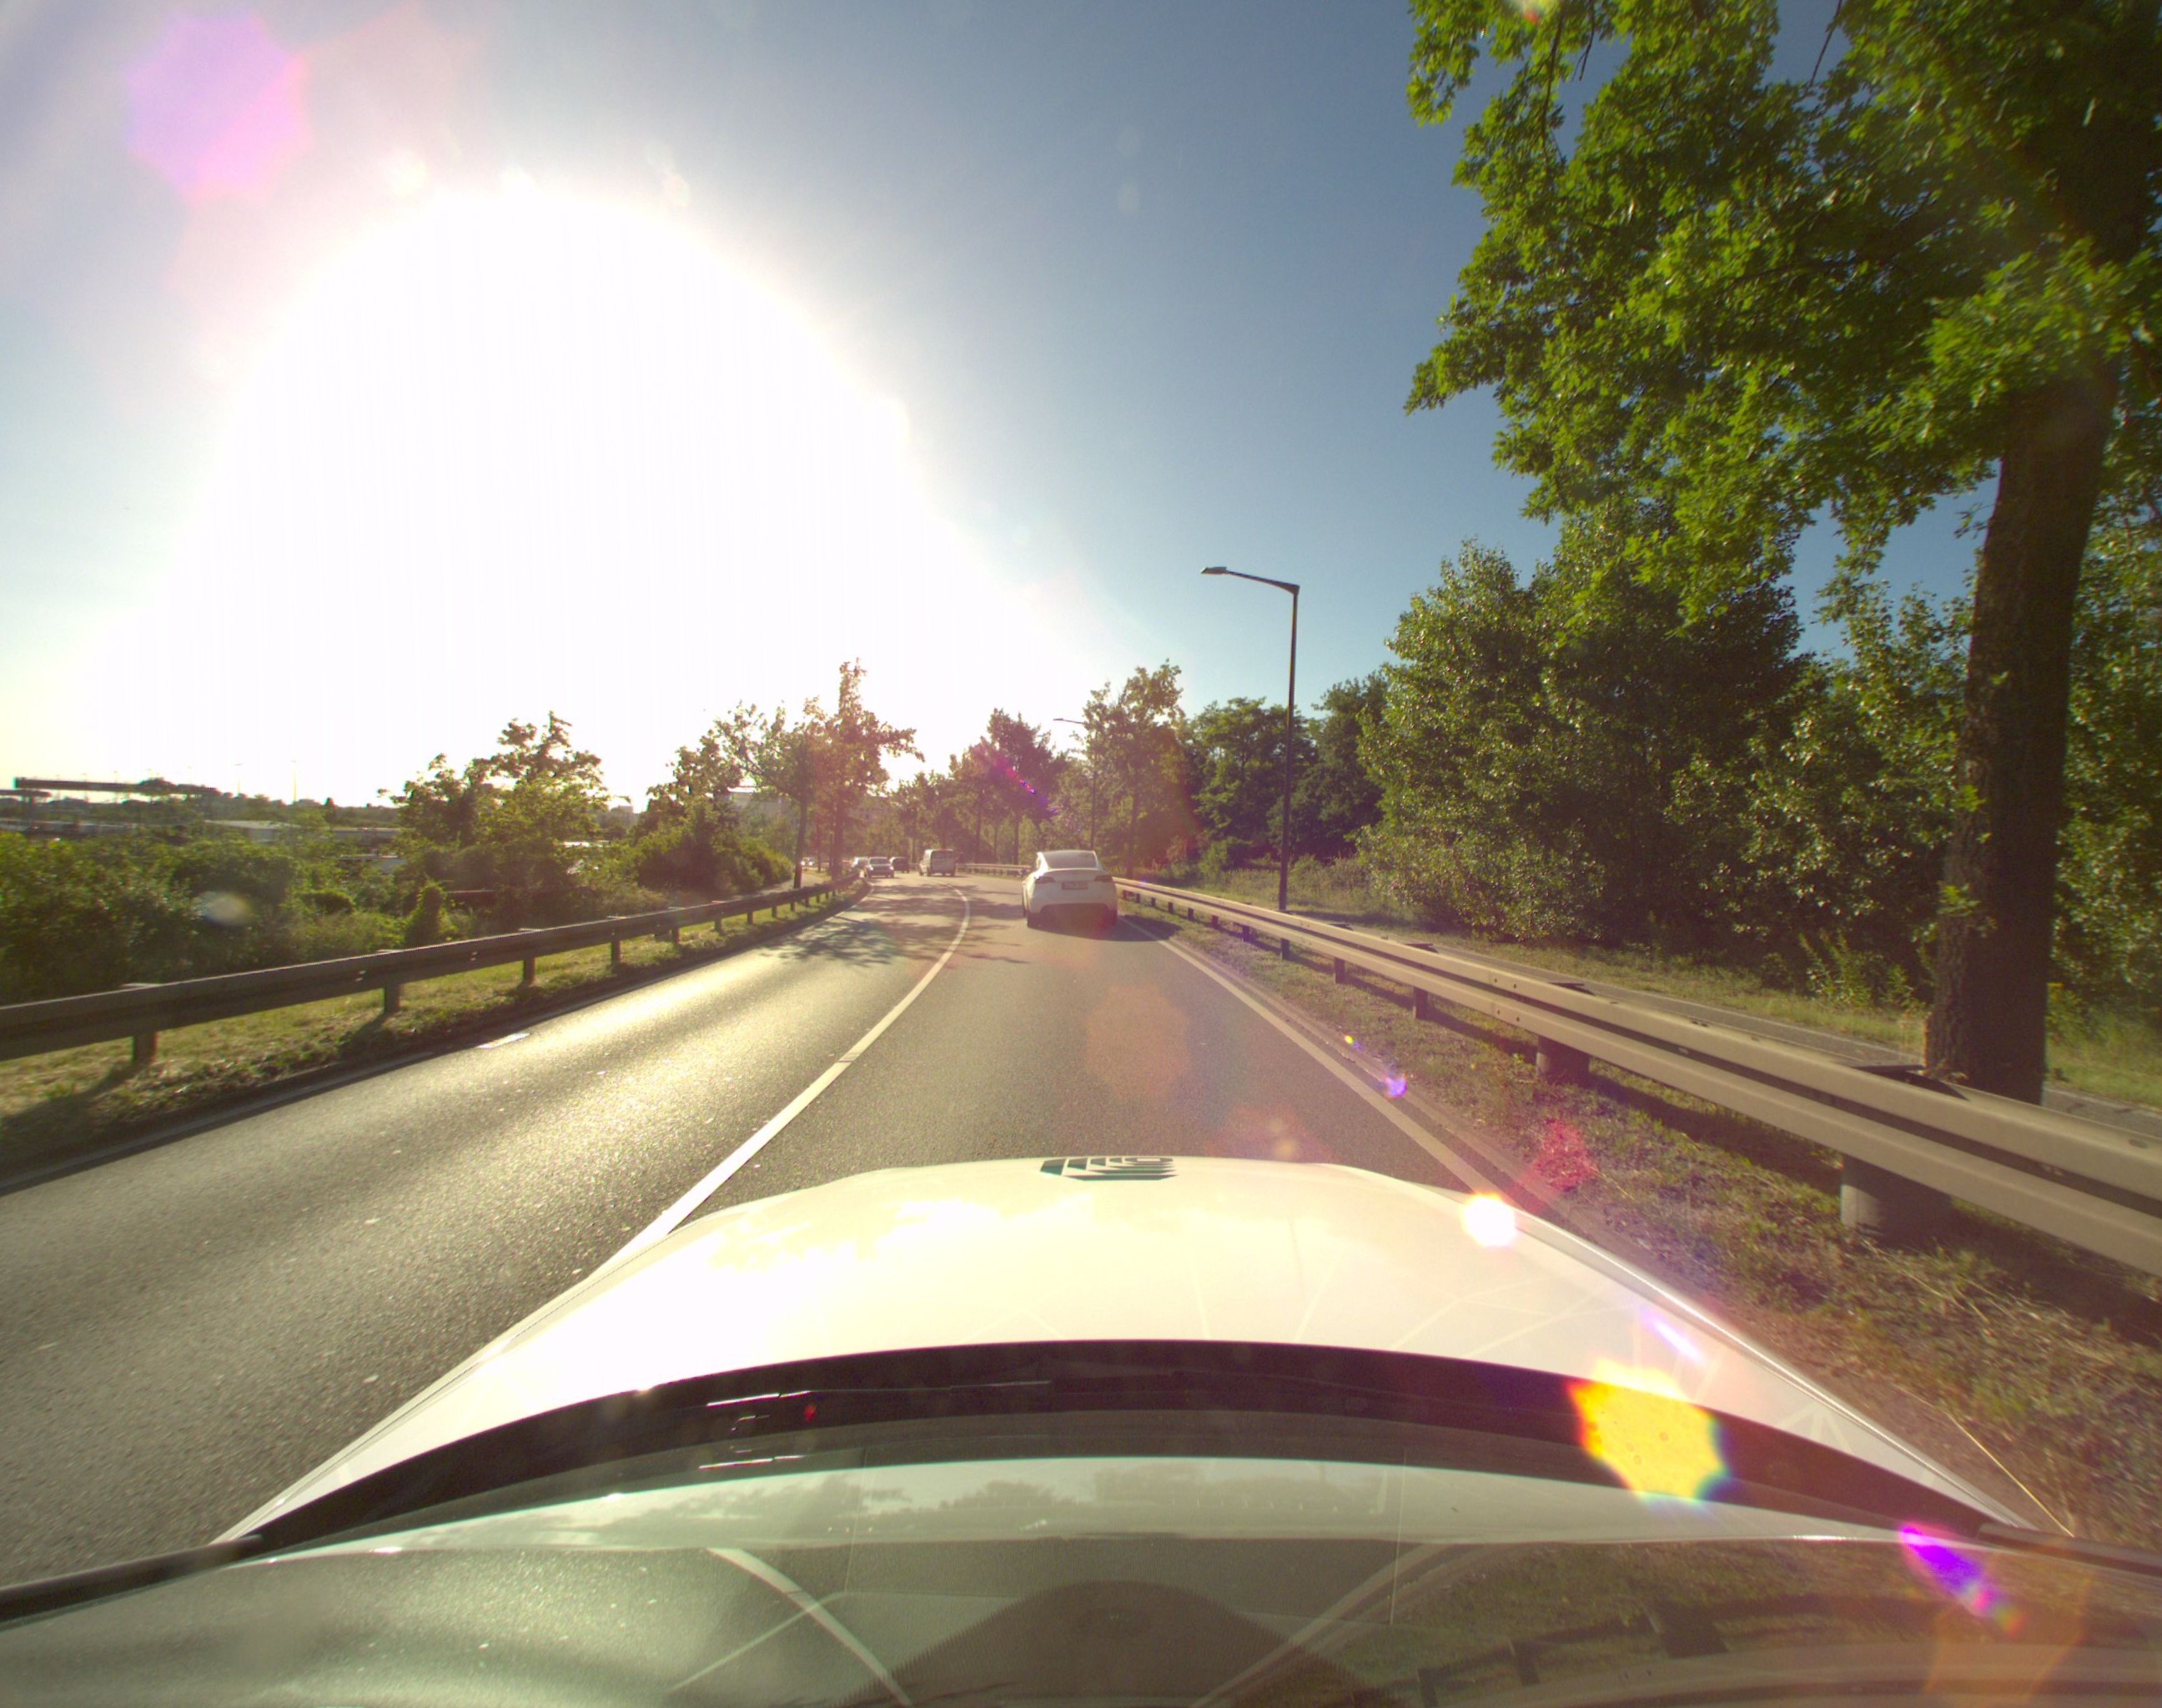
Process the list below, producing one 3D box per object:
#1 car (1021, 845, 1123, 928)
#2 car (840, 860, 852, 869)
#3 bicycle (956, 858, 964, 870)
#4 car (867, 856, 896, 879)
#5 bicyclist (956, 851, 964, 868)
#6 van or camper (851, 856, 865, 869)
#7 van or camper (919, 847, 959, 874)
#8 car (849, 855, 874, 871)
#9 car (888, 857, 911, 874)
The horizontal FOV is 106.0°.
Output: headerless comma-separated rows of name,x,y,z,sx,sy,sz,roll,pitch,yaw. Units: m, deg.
car,-0.333,0.653,18.407,1.911,1.641,4.401,0,0,-6
car,-41.078,1.798,142.170,1.815,1.554,4.112,0,0,-20
bicycle,-11.154,0.901,75.074,0.701,1.074,1.914,0,-2,-10
car,-14.075,0.940,57.279,1.700,1.518,3.956,0,0,-18
bicyclist,-11.137,0.504,74.969,0.707,1.578,1.001,0,-2,-10
van or camper,-31.973,1.204,117.014,1.828,1.791,4.523,2,1,-15
van or camper,-10.178,0.464,58.065,1.965,1.884,4.845,0,0,-21
car,-25.666,1.036,95.086,1.920,1.802,4.092,2,-1,-27
car,-16.386,1.036,73.492,1.609,1.435,3.654,2,-2,-19
